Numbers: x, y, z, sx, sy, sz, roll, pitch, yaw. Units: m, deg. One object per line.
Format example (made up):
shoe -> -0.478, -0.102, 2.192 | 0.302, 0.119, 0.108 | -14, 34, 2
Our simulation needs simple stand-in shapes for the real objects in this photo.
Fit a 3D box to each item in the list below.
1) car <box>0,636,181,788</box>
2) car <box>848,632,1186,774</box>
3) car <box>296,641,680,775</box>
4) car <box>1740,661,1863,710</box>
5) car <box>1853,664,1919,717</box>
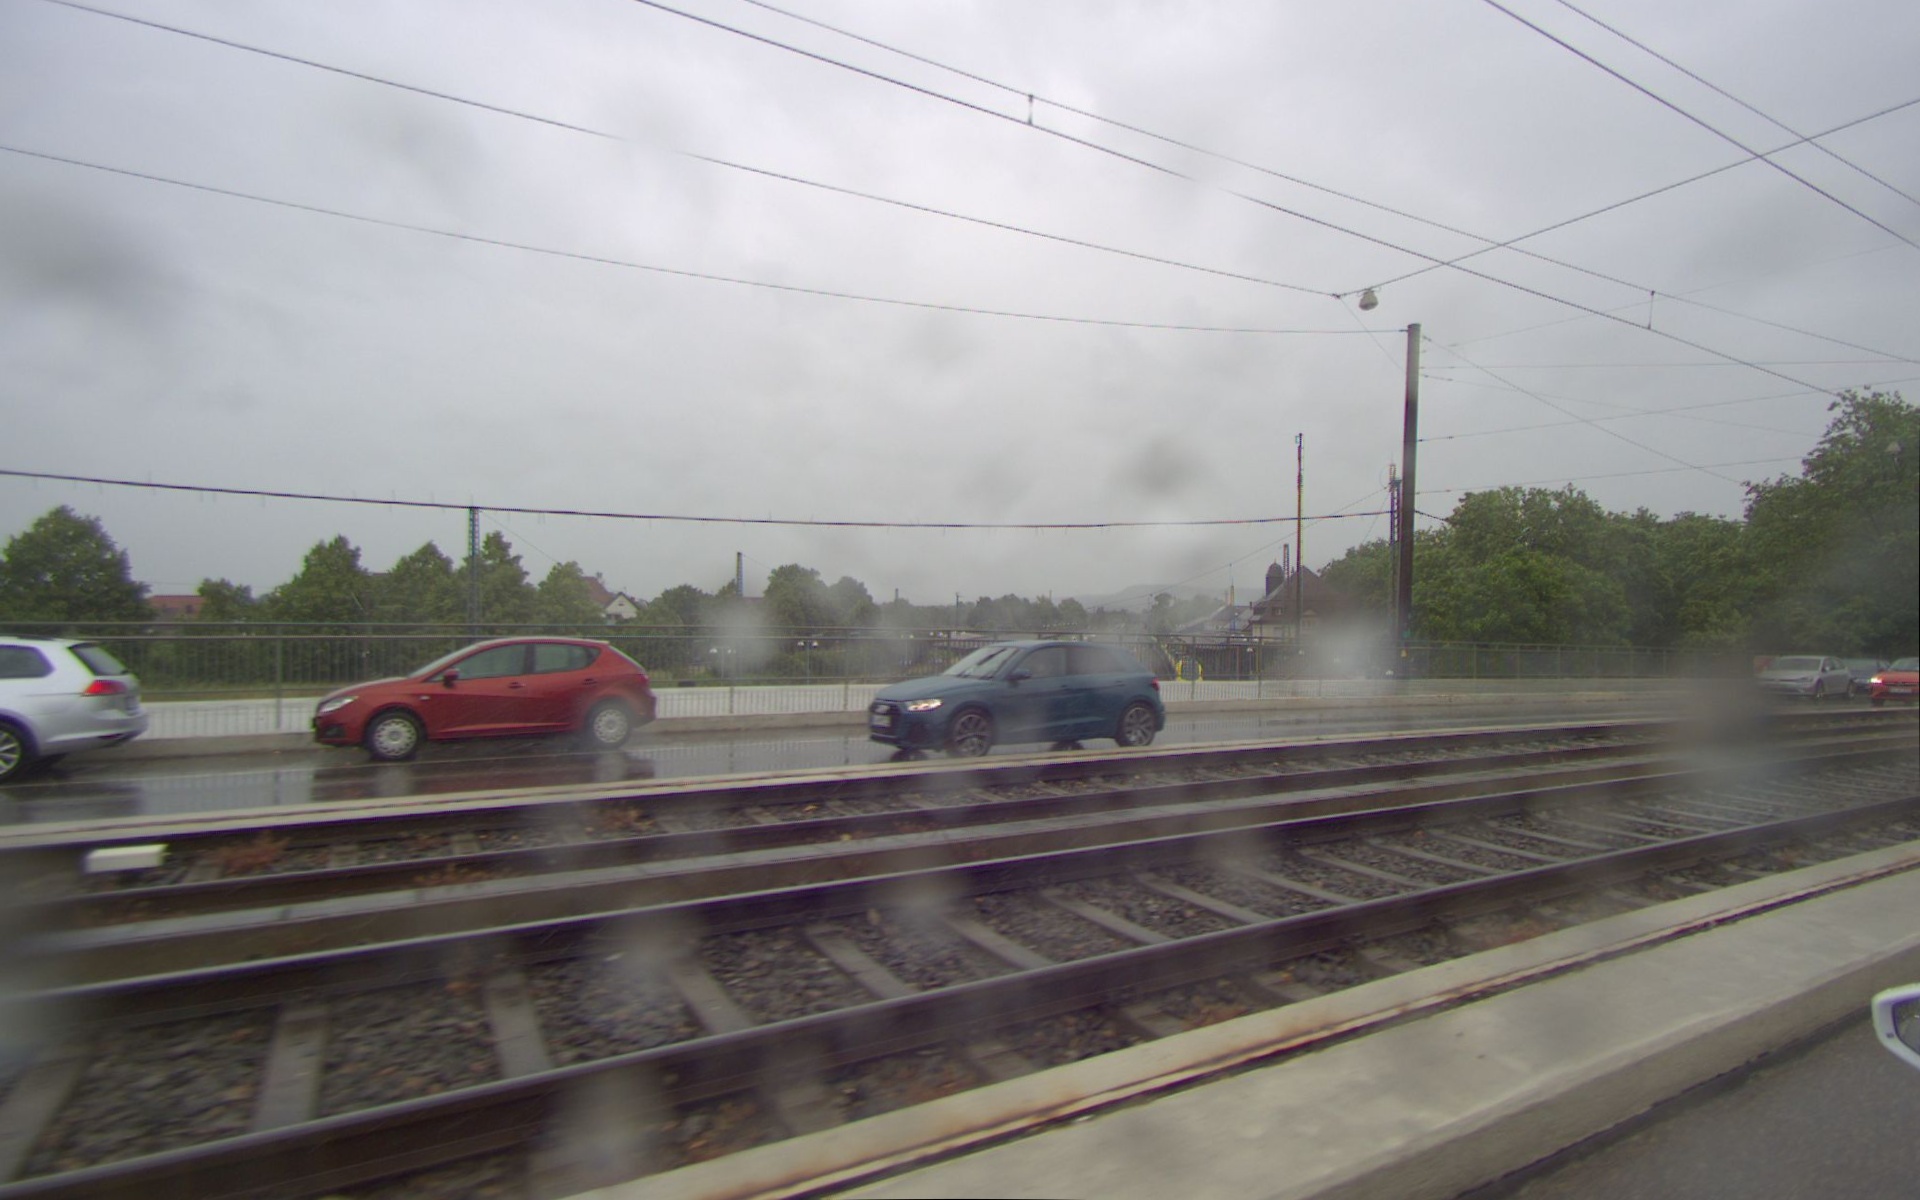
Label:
car -> -10.816, 1.120, 10.024 | 4.568, 1.474, 1.984 | 1, -3, -32
car -> 0.773, 1.201, 12.910 | 4.036, 1.502, 1.791 | 1, 0, -30
car -> -5.969, 1.284, 12.988 | 4.274, 1.474, 1.612 | 1, -3, -32
car -> 28.144, 2.821, 33.569 | 4.271, 1.474, 1.854 | 1, -3, -32
car -> 28.450, 2.643, 29.795 | 4.036, 1.333, 1.791 | 1, 0, -30
